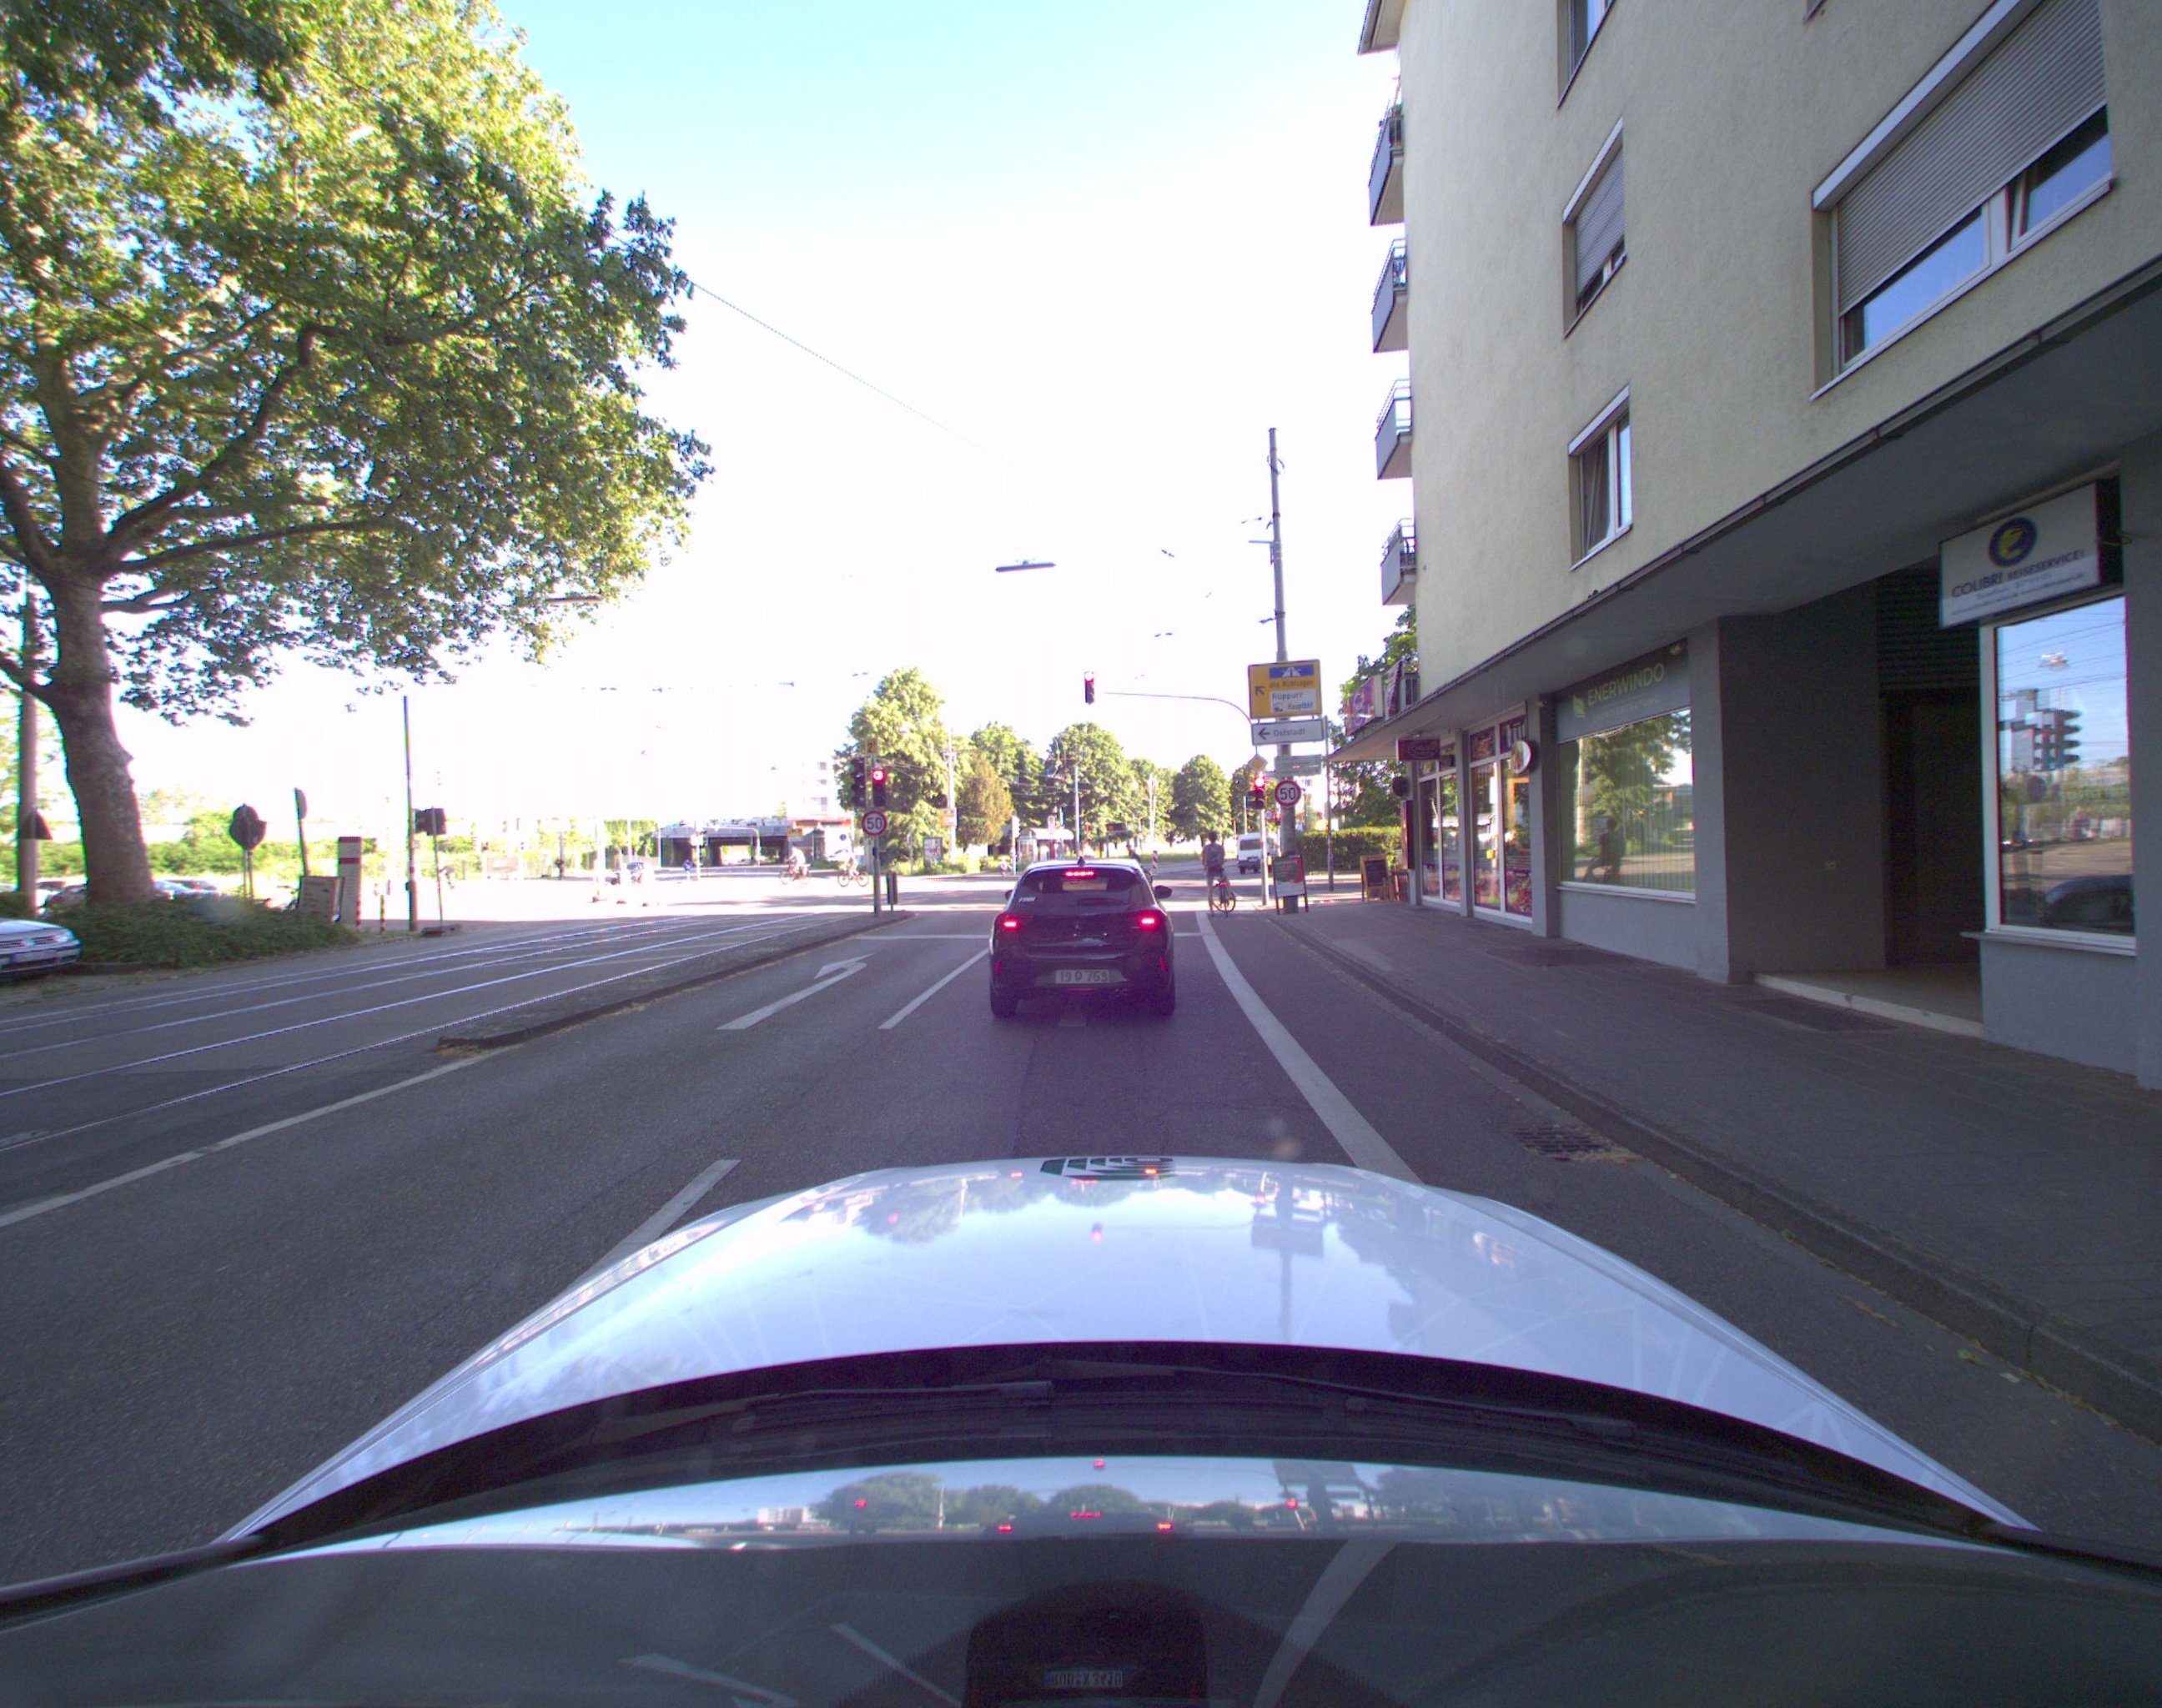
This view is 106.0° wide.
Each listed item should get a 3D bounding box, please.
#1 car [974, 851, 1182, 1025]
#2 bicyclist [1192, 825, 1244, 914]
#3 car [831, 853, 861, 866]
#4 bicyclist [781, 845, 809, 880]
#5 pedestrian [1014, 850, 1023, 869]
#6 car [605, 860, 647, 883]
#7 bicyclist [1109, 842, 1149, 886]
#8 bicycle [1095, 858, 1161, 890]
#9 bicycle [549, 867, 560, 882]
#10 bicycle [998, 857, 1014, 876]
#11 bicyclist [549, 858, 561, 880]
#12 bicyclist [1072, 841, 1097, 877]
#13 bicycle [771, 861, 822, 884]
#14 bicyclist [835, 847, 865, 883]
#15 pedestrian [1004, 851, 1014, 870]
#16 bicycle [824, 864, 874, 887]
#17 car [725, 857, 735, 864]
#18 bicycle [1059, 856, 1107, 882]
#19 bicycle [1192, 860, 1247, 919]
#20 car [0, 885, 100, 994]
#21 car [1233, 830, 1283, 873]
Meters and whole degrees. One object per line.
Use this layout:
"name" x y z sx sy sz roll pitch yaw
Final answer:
"car" 0.051 0.699 8.896 1.720 1.429 4.189 -1 0 2
"bicyclist" 2.973 0.327 17.751 0.938 1.851 0.864 -2 0 1
"car" -34.663 0.819 119.995 4.188 1.805 1.725 -2 0 -19
"bicyclist" -14.151 0.408 40.374 0.920 1.707 0.878 -2 0 14
"pedestrian" -5.503 0.494 71.666 0.633 1.630 0.573 0 -1 9
"car" -31.285 1.159 56.100 1.830 1.519 3.870 0 0 -18
"bicyclist" 1.717 0.340 29.372 1.117 1.520 0.915 -2 0 -21
"bicycle" 1.699 0.710 29.395 2.199 1.033 0.828 -2 0 -21
"bicycle" -39.344 1.501 60.855 0.585 1.060 2.022 -2 0 -30
"bicycle" -4.304 0.722 46.735 0.603 1.031 1.983 -2 0 2
"bicyclist" -39.341 1.120 60.898 0.639 1.563 0.825 -2 0 -31
"bicyclist" 0.162 0.223 36.279 0.853 1.595 0.653 -2 0 23
"bicycle" -14.103 0.919 40.354 2.276 1.084 0.804 -2 0 14
"bicyclist" -10.414 0.476 36.754 1.003 1.570 0.802 -2 0 13
"pedestrian" -6.318 0.576 71.552 0.746 1.630 0.599 0 -1 8
"bicycle" -10.477 0.969 36.778 2.044 0.984 0.675 -2 0 12
"car" -90.246 1.600 209.278 2.223 1.823 4.114 -2 0 -24
"bicycle" 0.084 0.662 36.319 2.036 1.094 0.596 -2 0 23
"bicycle" 2.981 0.733 17.754 0.857 1.153 2.172 -2 0 1
"car" -16.958 1.200 11.360 4.497 1.429 1.676 0 0 0
"car" 10.147 -0.160 46.380 2.046 2.248 4.912 -2 0 20
